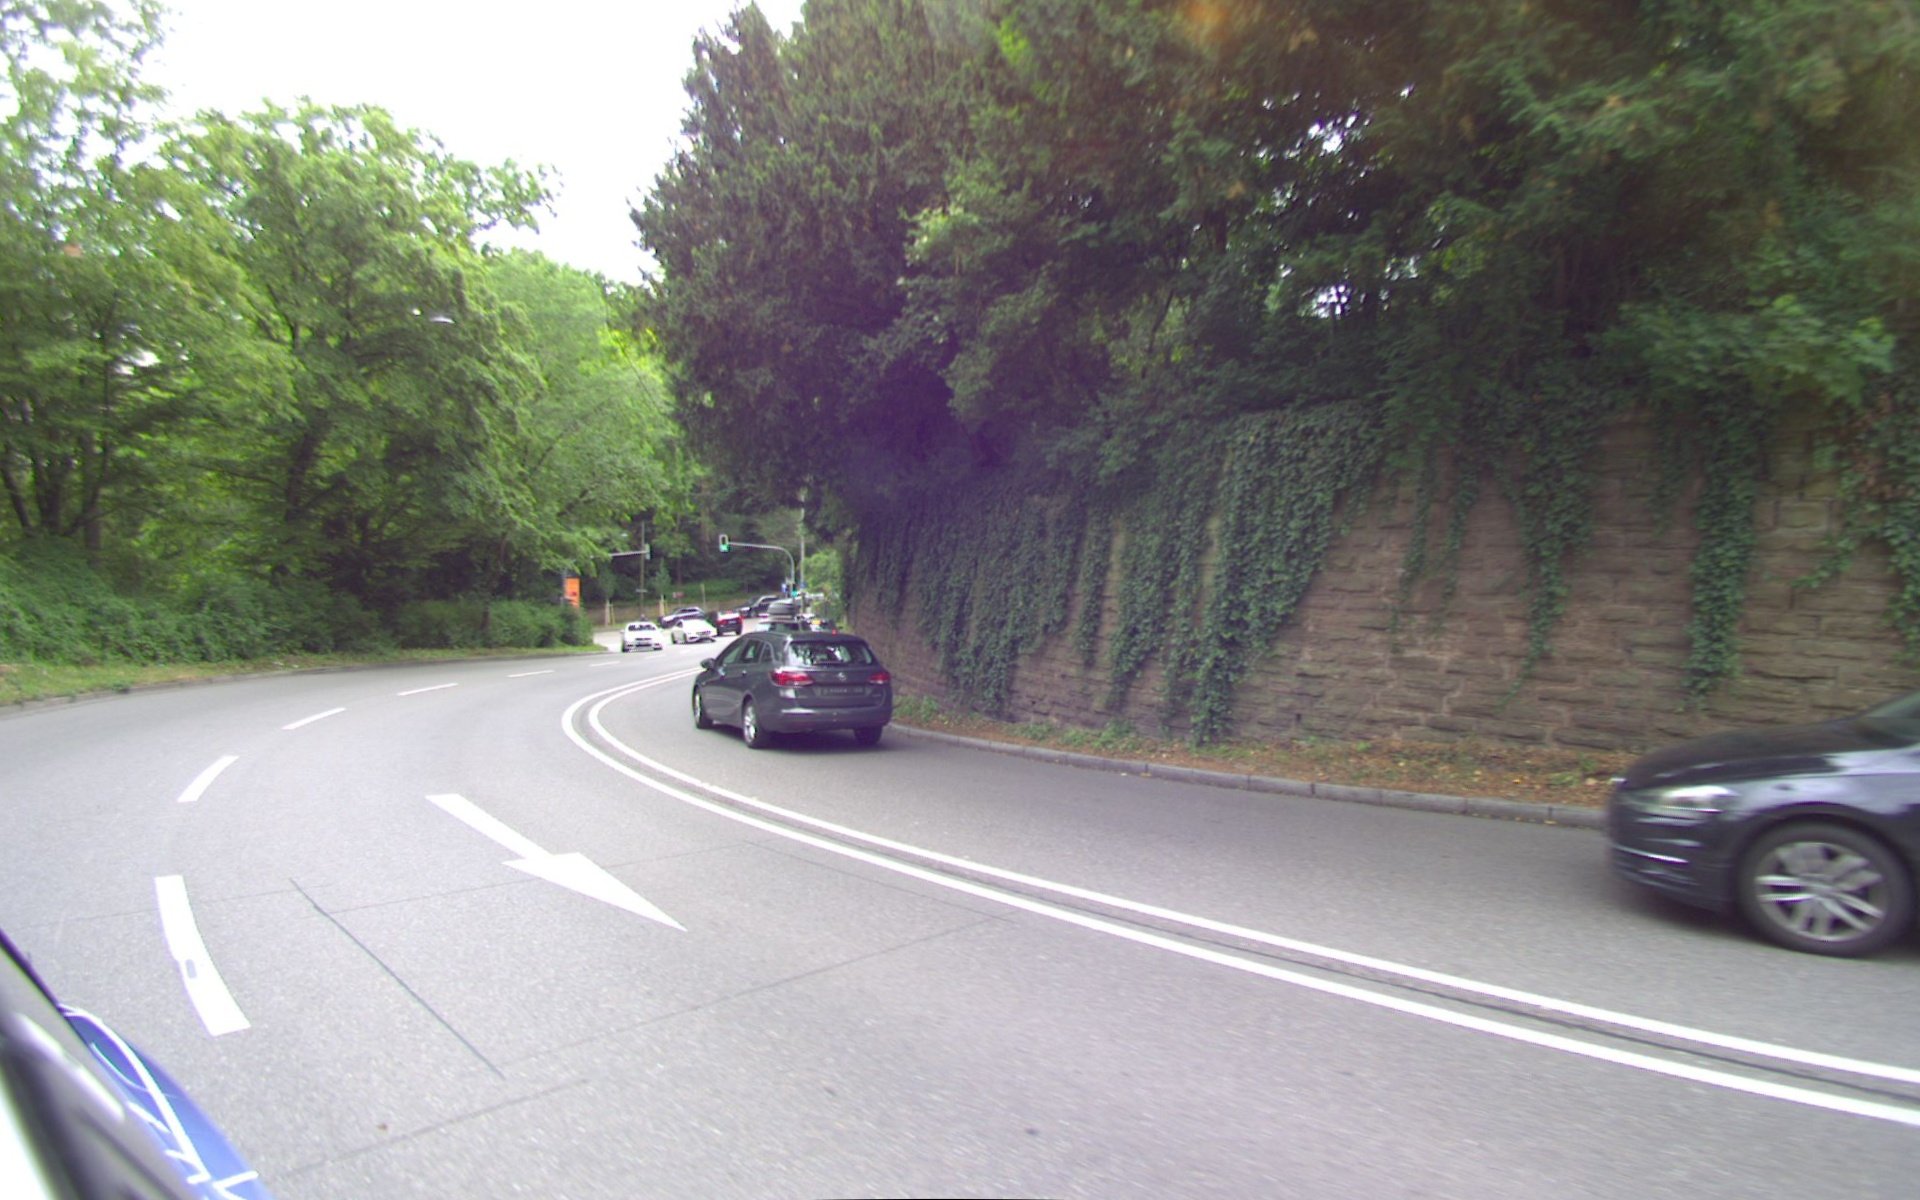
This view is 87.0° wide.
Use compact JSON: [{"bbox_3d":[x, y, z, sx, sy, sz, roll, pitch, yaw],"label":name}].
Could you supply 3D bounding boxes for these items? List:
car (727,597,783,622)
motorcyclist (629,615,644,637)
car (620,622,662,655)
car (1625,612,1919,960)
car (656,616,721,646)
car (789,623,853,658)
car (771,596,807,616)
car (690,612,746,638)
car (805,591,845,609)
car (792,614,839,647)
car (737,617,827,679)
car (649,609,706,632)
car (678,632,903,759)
[{"bbox_3d":[-17.456,0.827,86.278,1.805,1.696,4.488,-1,5,37],"label":"car"},{"bbox_3d":[-23.085,1.877,72.288,0.737,1.541,1.098,0,-1,-35],"label":"motorcyclist"},{"bbox_3d":[-15.922,1.887,50.624,1.885,1.563,4.539,1,-1,-16],"label":"car"},{"bbox_3d":[5.442,0.758,4.496,3.984,1.454,1.789,-3,-2,30],"label":"car"},{"bbox_3d":[-15.877,1.804,59.018,1.888,1.489,4.535,-6,2,-38],"label":"car"},{"bbox_3d":[-5.707,1.648,41.925,1.754,1.349,3.953,1,-1,5],"label":"car"},{"bbox_3d":[-15.767,0.501,93.350,1.501,1.457,3.232,1,7,32],"label":"car"},{"bbox_3d":[-15.997,1.642,66.830,1.826,1.661,4.520,-1,0,-38],"label":"car"},{"bbox_3d":[-13.131,-0.039,98.291,1.624,1.338,3.980,2,7,33],"label":"car"},{"bbox_3d":[-7.390,1.541,52.147,1.841,1.609,4.631,1,-1,-2],"label":"car"},{"bbox_3d":[-5.146,1.370,29.823,1.751,1.665,4.384,1,-2,2],"label":"car"},{"bbox_3d":[-22.541,1.625,80.926,3.937,1.368,1.757,-7,5,-38],"label":"car"},{"bbox_3d":[-2.494,1.177,13.957,1.634,1.451,4.308,1,-2,-30],"label":"car"}]
